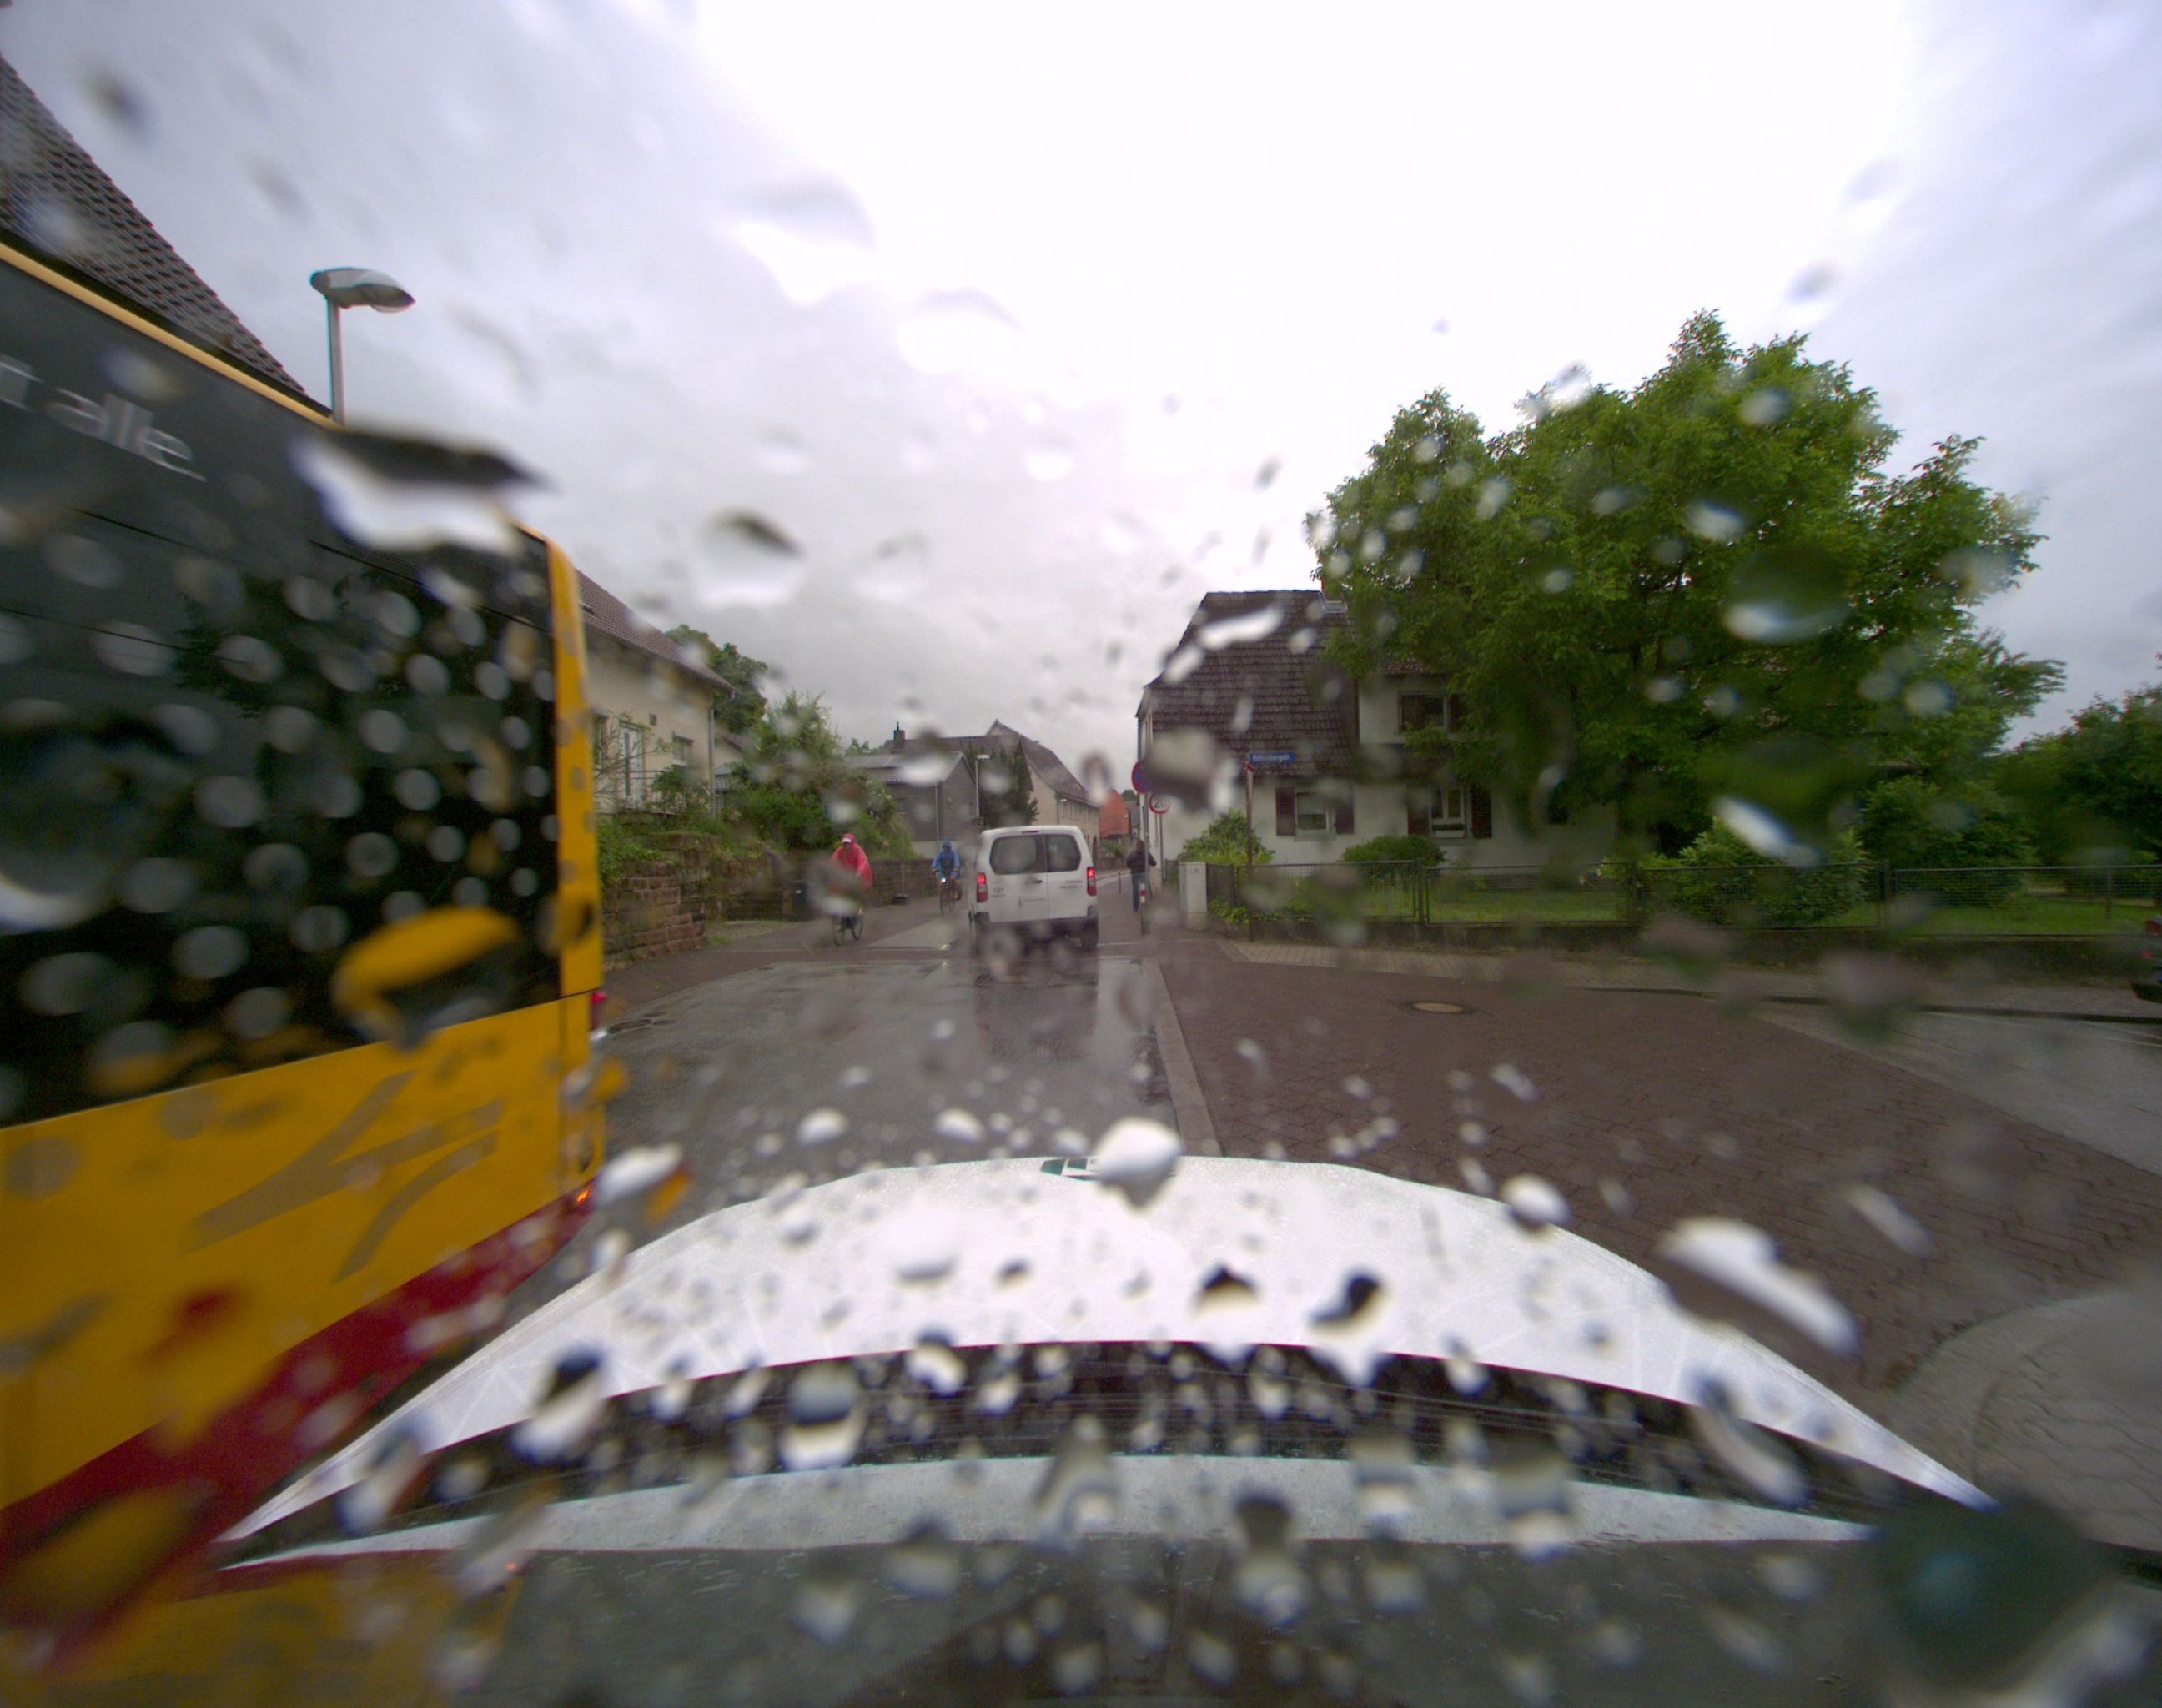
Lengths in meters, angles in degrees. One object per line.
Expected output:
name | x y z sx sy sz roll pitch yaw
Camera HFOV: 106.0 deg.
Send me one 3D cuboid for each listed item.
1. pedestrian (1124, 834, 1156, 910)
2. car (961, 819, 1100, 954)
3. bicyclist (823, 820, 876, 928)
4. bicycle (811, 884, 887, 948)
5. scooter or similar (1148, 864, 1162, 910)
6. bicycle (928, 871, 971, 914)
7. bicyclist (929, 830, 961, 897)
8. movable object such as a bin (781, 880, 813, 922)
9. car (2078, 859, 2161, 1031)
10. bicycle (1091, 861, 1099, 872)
pedestrian | 1.371 0.399 18.971 0.692 1.732 0.821 0 0 1
car | -0.968 0.483 13.179 1.795 1.819 4.086 0 -1 -10
bicyclist | -3.875 0.313 13.687 0.654 1.769 0.704 0 1 1
bicycle | -3.874 1.014 13.754 0.659 0.870 1.936 0 2 2
scooter or similar | 1.714 0.749 18.914 0.244 1.028 1.100 0 0 1
bicycle | -3.414 0.972 21.278 0.678 1.051 2.340 0 -1 2
bicyclist | -3.529 0.248 21.136 0.685 1.713 0.703 0 -1 1
movable object such as a bin | -6.450 1.067 18.502 0.536 0.930 0.544 0 -1 -1
car | 11.121 0.779 6.320 3.955 1.471 1.801 0 0 17
bicycle | 1.464 1.273 84.168 0.480 1.180 1.841 -1 -1 13
